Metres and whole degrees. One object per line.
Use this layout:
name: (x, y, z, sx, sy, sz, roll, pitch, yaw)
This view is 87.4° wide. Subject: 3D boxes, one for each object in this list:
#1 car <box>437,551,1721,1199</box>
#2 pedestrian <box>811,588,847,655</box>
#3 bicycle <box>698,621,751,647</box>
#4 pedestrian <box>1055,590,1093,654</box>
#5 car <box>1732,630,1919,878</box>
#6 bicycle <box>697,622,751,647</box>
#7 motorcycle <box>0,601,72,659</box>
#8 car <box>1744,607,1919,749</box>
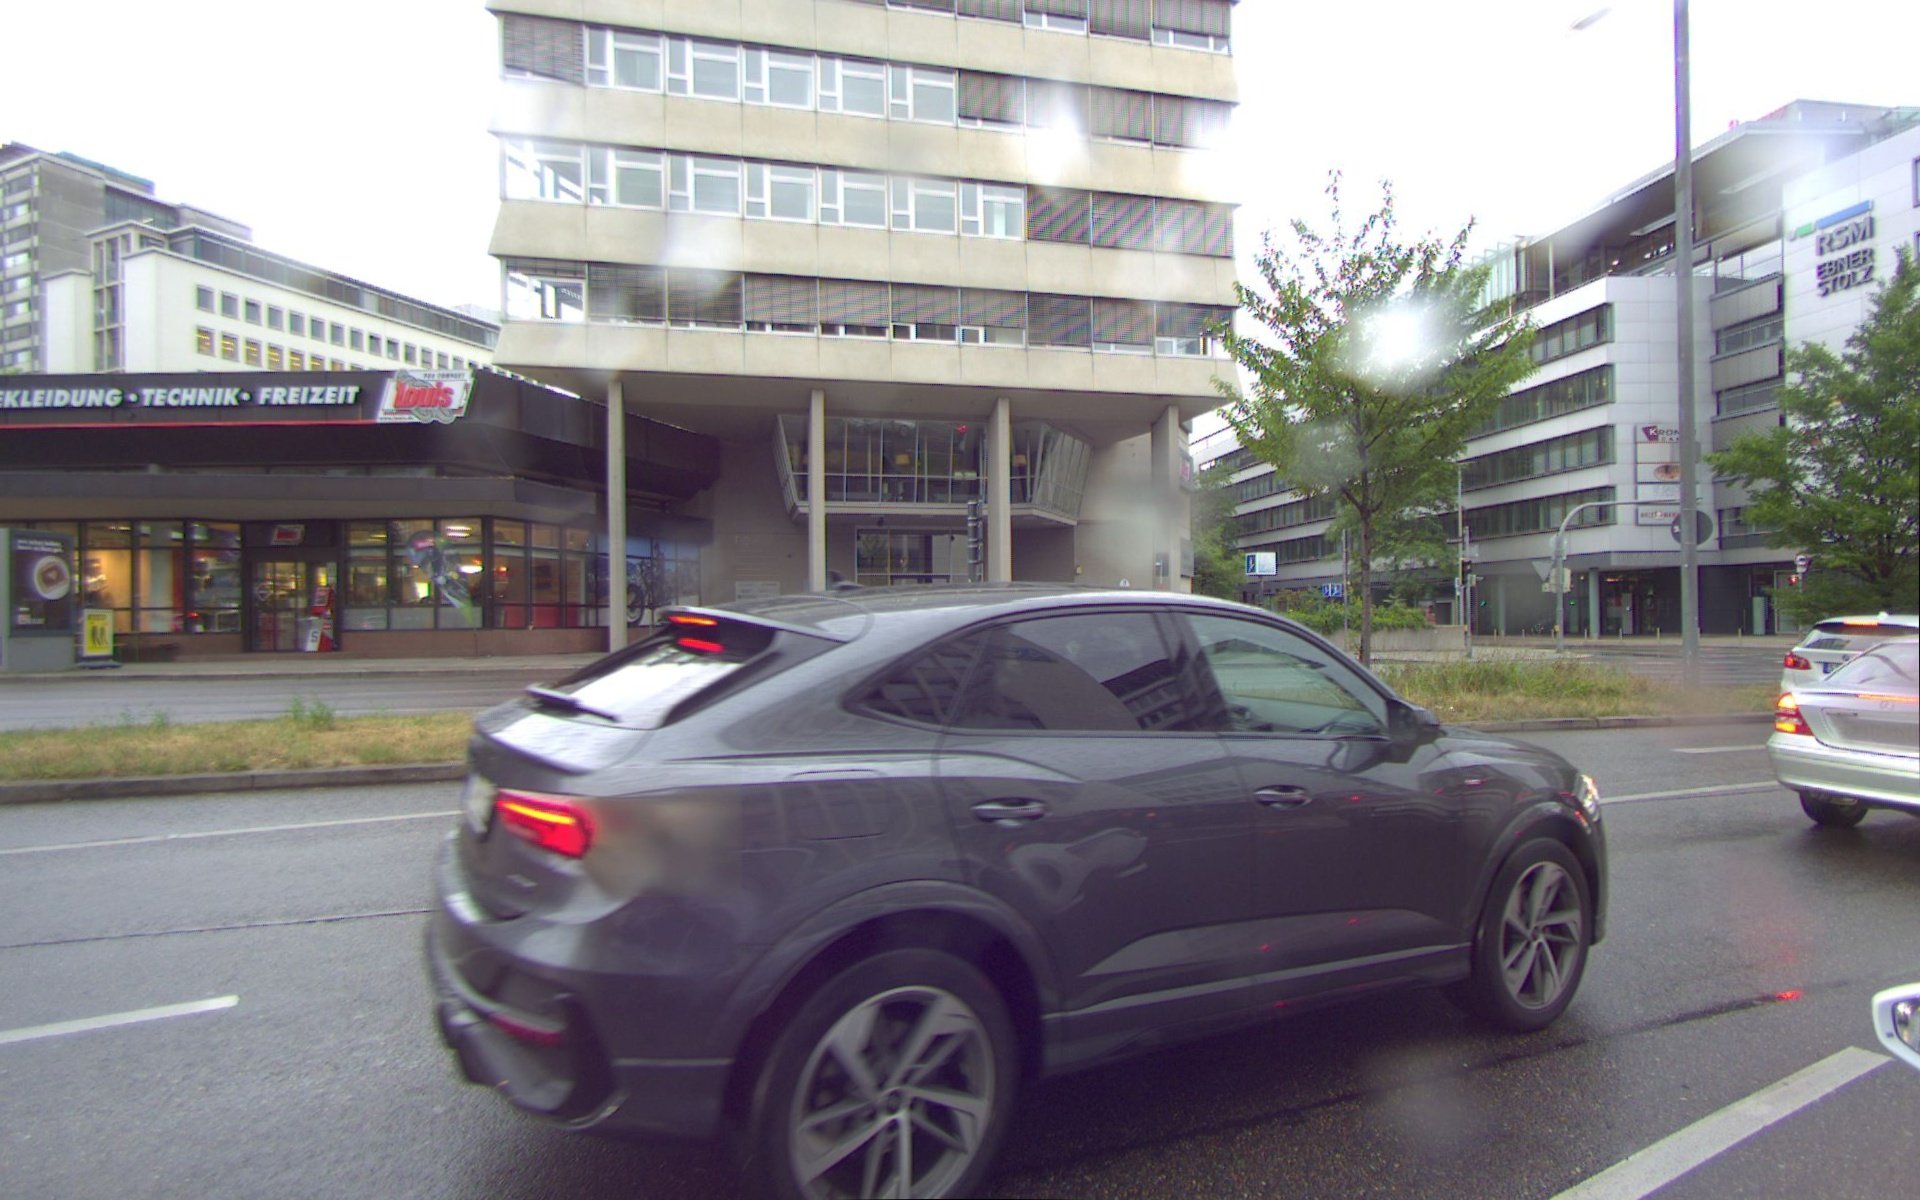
car: (0.653, 0.690, 3.506, 4.242, 1.454, 1.925, 1, -1, -34)
pedestrian: (-3.722, 0.612, 28.484, 0.909, 1.857, 0.817, 1, 0, -14)
bicycle: (-8.068, 1.162, 34.418, 1.743, 0.823, 0.454, 1, 0, -12)
pedestrian: (3.347, 0.638, 29.573, 0.909, 1.857, 0.727, 1, -1, -14)
car: (7.716, 0.981, 7.202, 4.137, 1.505, 1.678, 1, -1, -23)
bicycle: (-7.955, 1.161, 33.839, 1.743, 0.823, 0.454, 1, 0, -12)
motorcycle: (-23.560, 0.734, 24.692, 0.788, 1.392, 2.893, 1, 0, 3)
car: (12.500, 0.921, 12.962, 3.937, 1.617, 1.883, 1, 0, -18)
